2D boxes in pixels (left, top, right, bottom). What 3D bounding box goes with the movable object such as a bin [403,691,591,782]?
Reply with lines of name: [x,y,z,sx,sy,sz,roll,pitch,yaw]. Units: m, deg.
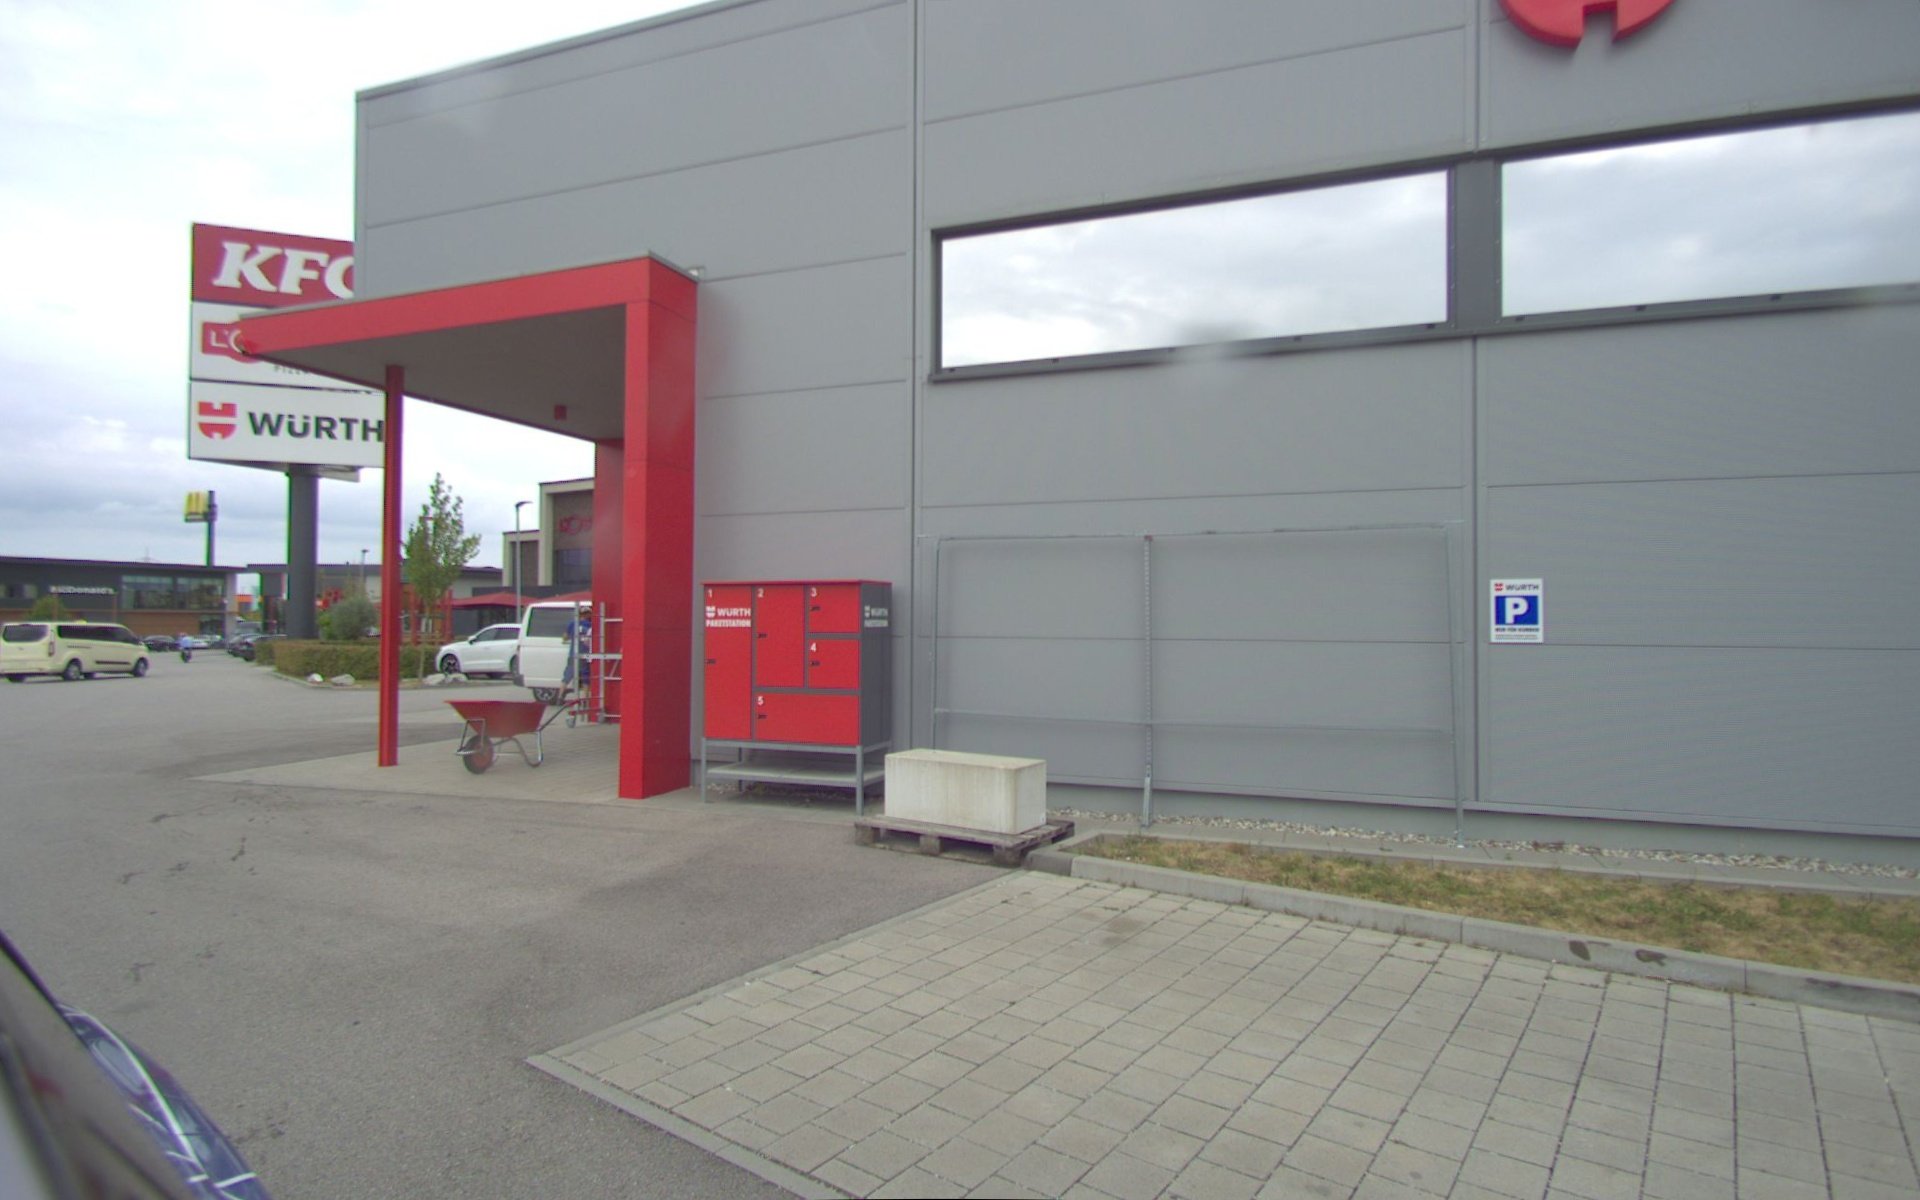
movable object such as a bin: [-4.485,1.296,9.931,0.798,0.721,1.573,-1,-2,21]

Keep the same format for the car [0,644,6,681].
car: [-39.109,2.408,38.518,3.937,1.431,1.813,1,-3,-40]

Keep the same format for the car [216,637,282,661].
car: [-57.680,3.925,82.165,1.996,1.852,3.950,-2,-2,36]

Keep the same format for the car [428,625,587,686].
car: [-13.898,1.687,31.061,4.712,1.762,1.744,-1,-2,23]

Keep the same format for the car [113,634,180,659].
car: [-69.249,3.931,86.219,3.935,2.029,2.004,0,-2,-10]

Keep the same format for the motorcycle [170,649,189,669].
motorcycle: [-44.911,3.378,58.254,0.804,1.083,2.153,2,-3,-39]

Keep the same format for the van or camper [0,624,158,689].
van or camper: [-30.943,1.923,35.450,1.831,2.077,5.239,0,-2,-4]

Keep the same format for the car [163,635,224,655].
car: [-68.633,4.042,90.676,3.935,1.674,2.004,0,-2,-10]

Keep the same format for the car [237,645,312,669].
car: [-40.231,3.332,59.467,1.499,1.305,3.396,-2,-2,41]

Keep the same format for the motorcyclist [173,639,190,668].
motorcyclist: [-44.831,3.081,58.243,0.742,1.651,1.040,1,-2,-39]

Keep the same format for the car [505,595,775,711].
car: [-6.096,0.995,19.361,4.720,2.029,1.926,-1,-2,19]

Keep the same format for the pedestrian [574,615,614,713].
pedestrian: [-6.552,1.143,18.129,0.358,1.715,0.581,-1,-3,22]

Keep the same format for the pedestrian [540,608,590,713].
pedestrian: [-7.141,1.085,18.321,0.621,1.870,0.585,-1,-2,20]
